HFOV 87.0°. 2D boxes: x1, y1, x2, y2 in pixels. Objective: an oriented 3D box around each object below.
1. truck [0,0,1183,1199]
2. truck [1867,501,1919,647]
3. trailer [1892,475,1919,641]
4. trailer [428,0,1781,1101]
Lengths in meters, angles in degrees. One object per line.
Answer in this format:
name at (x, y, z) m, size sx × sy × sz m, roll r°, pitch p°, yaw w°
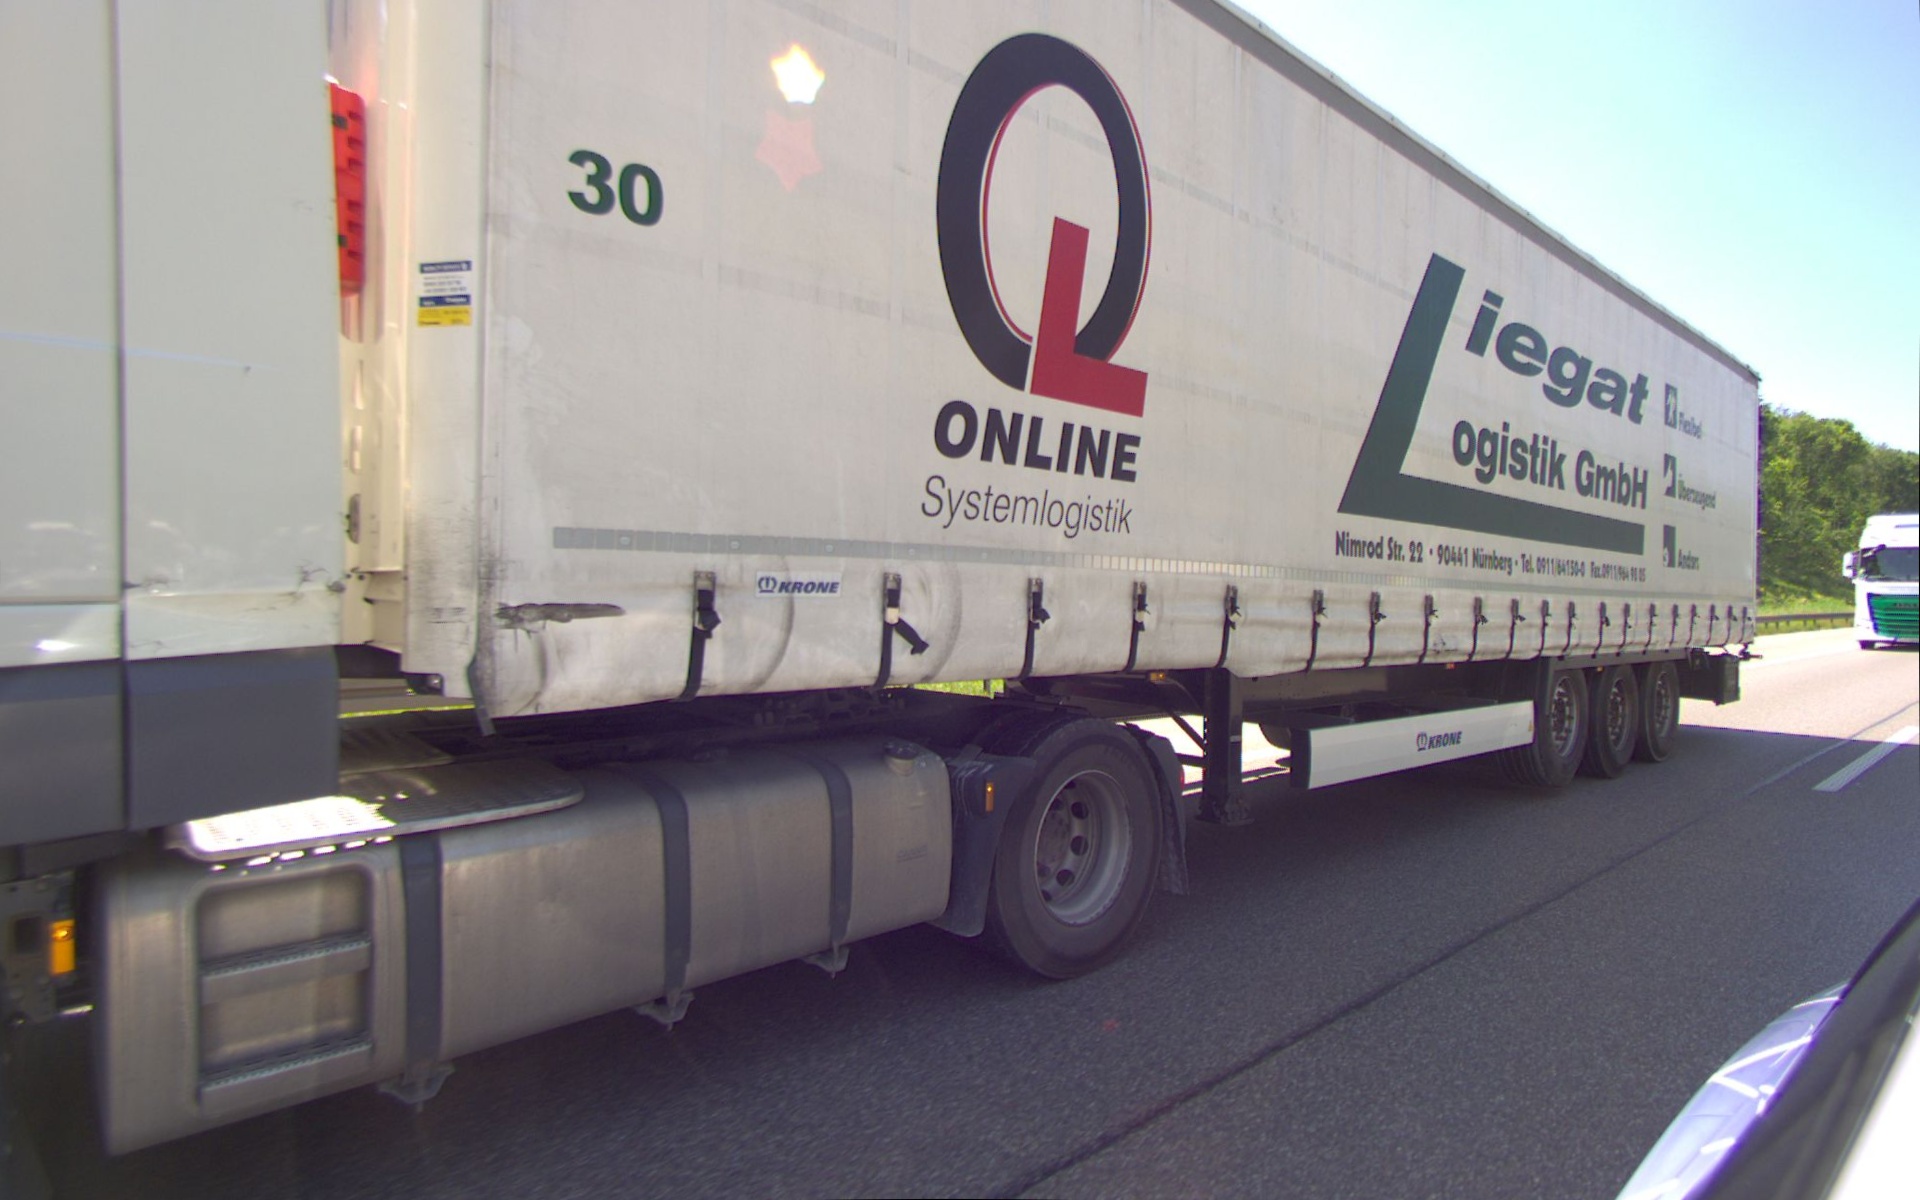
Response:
truck at (-2.208, -0.689, 3.178) m, size 5.765 × 4.258 × 2.791 m, roll 1°, pitch -1°, yaw -41°
truck at (29.505, -0.781, 30.312) m, size 6.507 × 4.079 × 2.541 m, roll -1°, pitch 1°, yaw -40°
trailer at (35.753, -1.403, 35.622) m, size 15.004 × 5.103 × 2.572 m, roll -1°, pitch 1°, yaw -41°
trailer at (3.293, -0.723, 8.052) m, size 13.009 × 4.258 × 2.791 m, roll 1°, pitch -1°, yaw -41°
